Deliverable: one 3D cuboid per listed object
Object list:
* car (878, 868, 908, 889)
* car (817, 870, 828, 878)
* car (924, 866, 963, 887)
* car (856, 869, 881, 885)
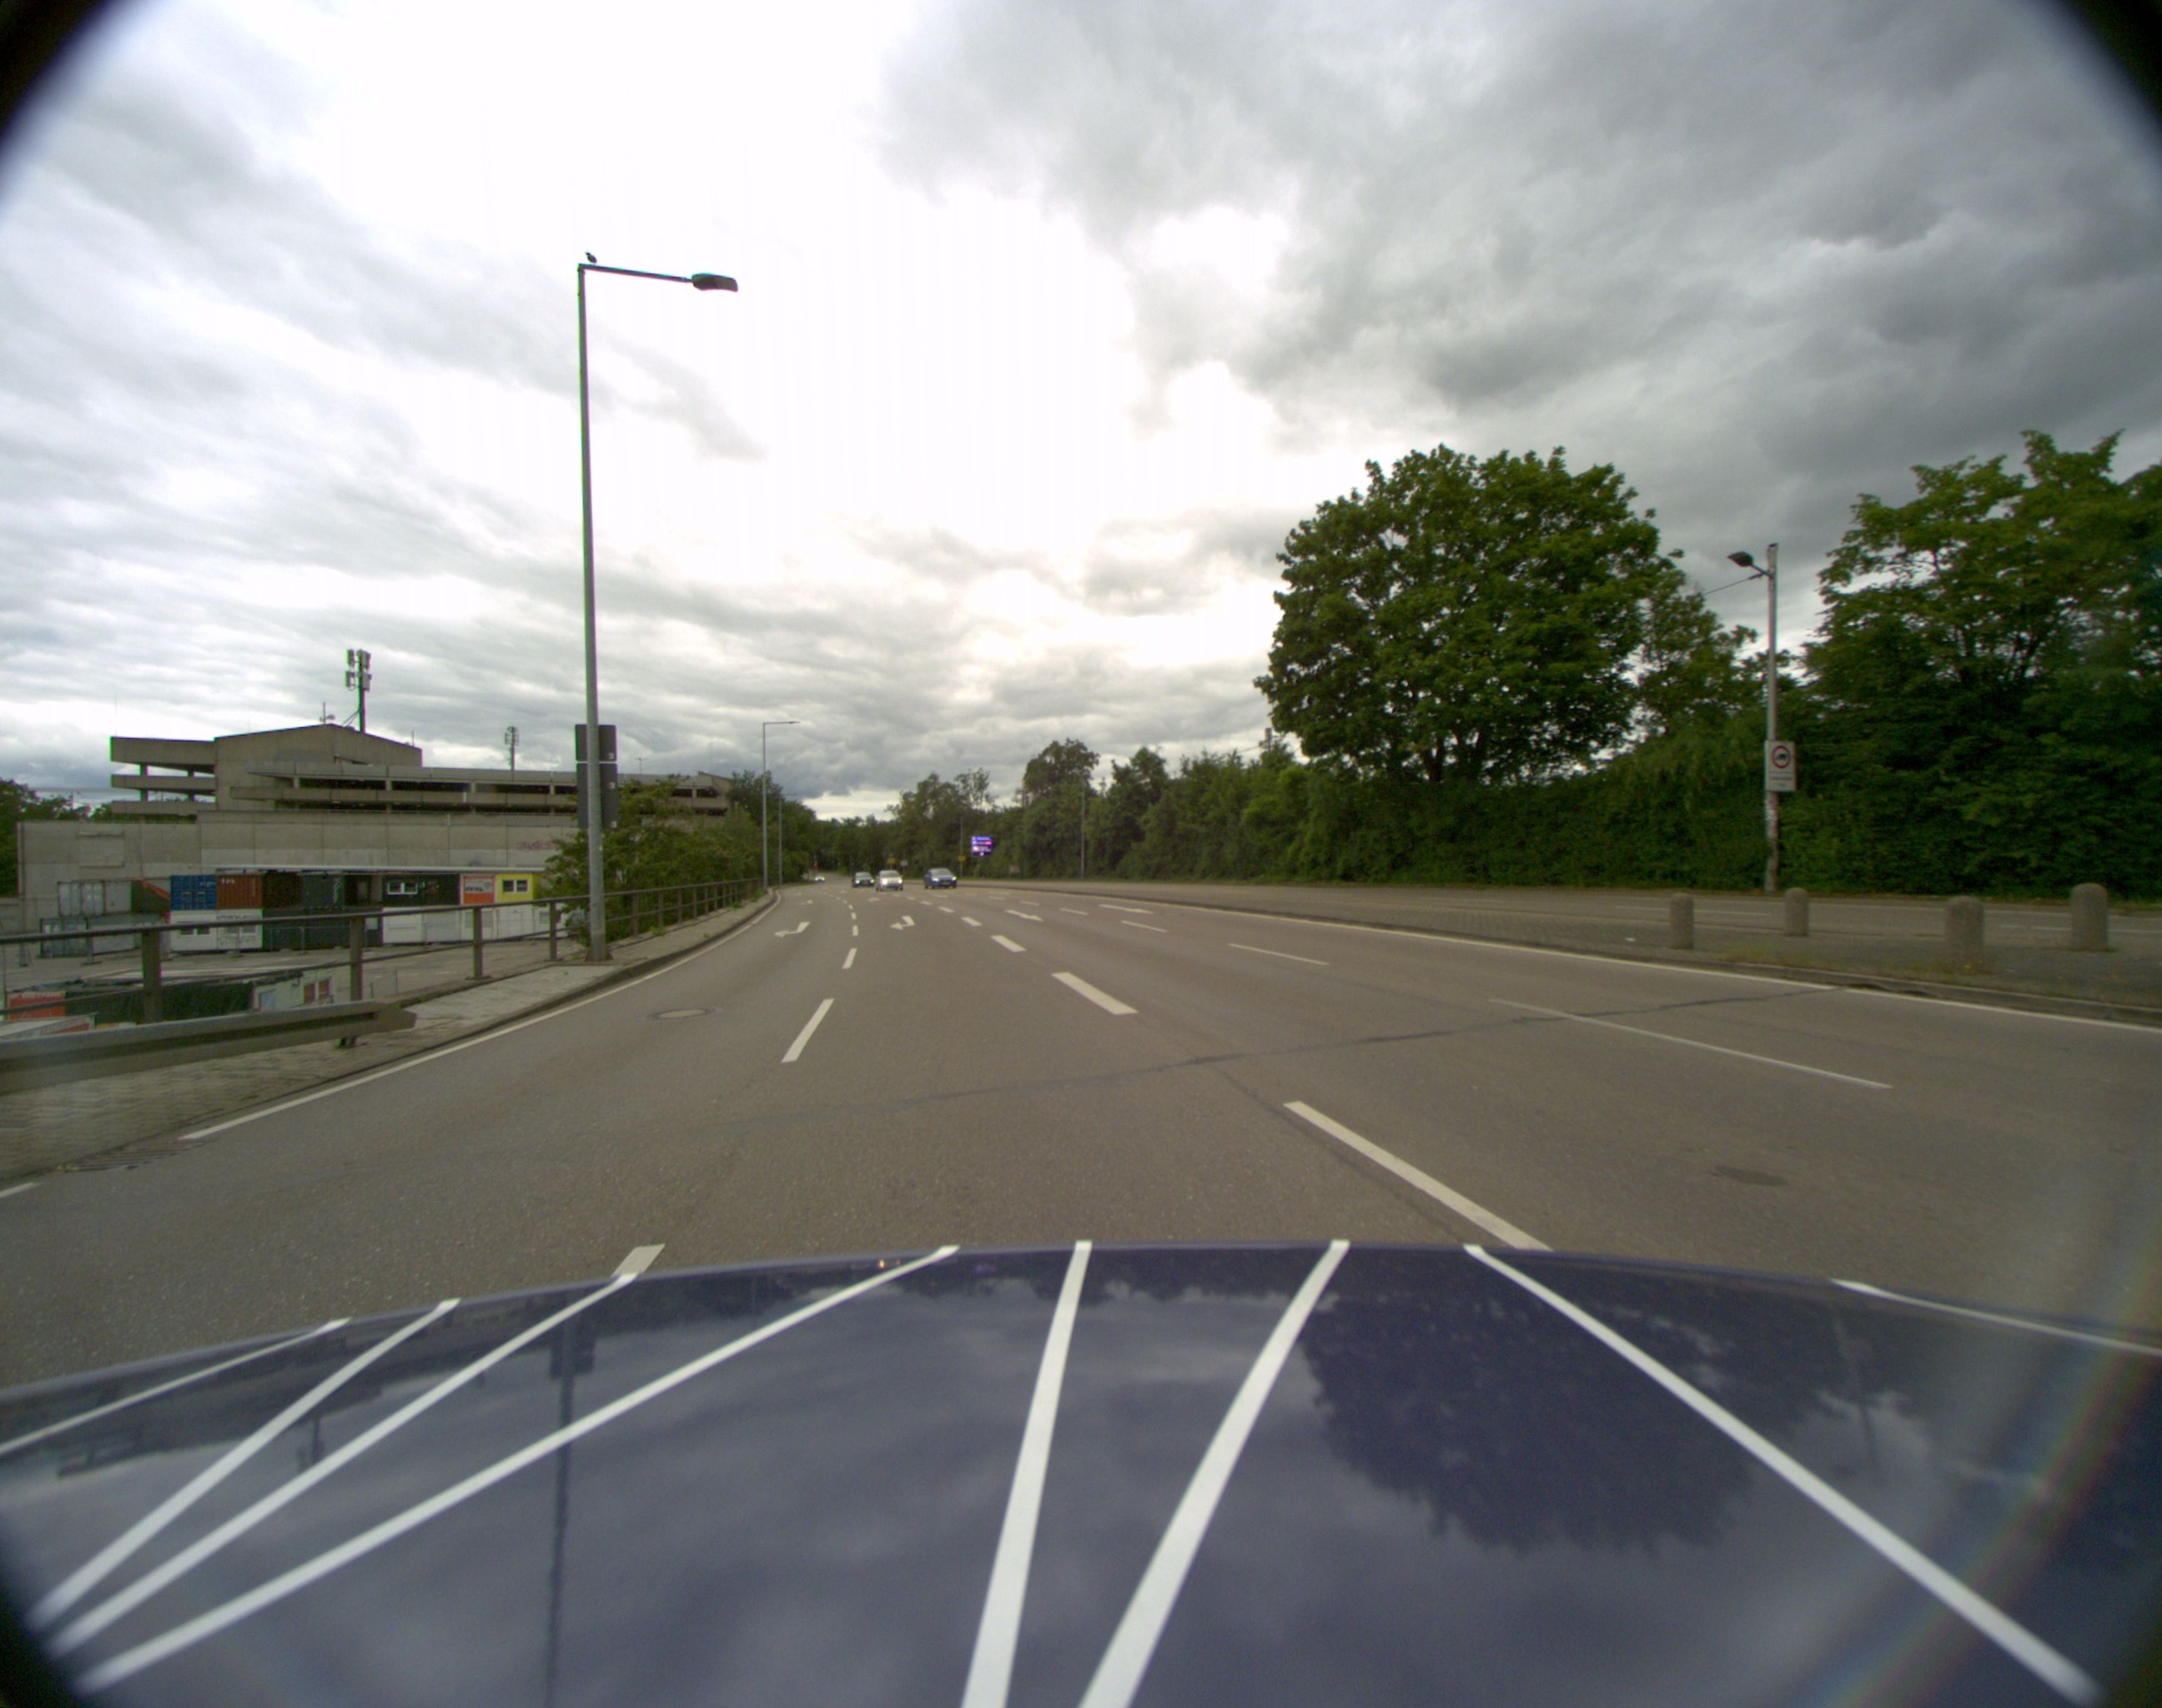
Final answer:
[{"bbox_3d":[-13.776,1.778,55.502,1.612,1.408,3.585,-2,0,-21],"label":"car"},{"bbox_3d":[-52.542,4.053,154.650,1.868,1.408,4.331,-2,0,-22],"label":"car"},{"bbox_3d":[-10.135,1.624,55.697,1.845,1.408,4.572,-2,0,-22],"label":"car"},{"bbox_3d":[-20.290,2.198,72.450,1.868,1.408,4.331,-2,0,-20],"label":"car"}]
